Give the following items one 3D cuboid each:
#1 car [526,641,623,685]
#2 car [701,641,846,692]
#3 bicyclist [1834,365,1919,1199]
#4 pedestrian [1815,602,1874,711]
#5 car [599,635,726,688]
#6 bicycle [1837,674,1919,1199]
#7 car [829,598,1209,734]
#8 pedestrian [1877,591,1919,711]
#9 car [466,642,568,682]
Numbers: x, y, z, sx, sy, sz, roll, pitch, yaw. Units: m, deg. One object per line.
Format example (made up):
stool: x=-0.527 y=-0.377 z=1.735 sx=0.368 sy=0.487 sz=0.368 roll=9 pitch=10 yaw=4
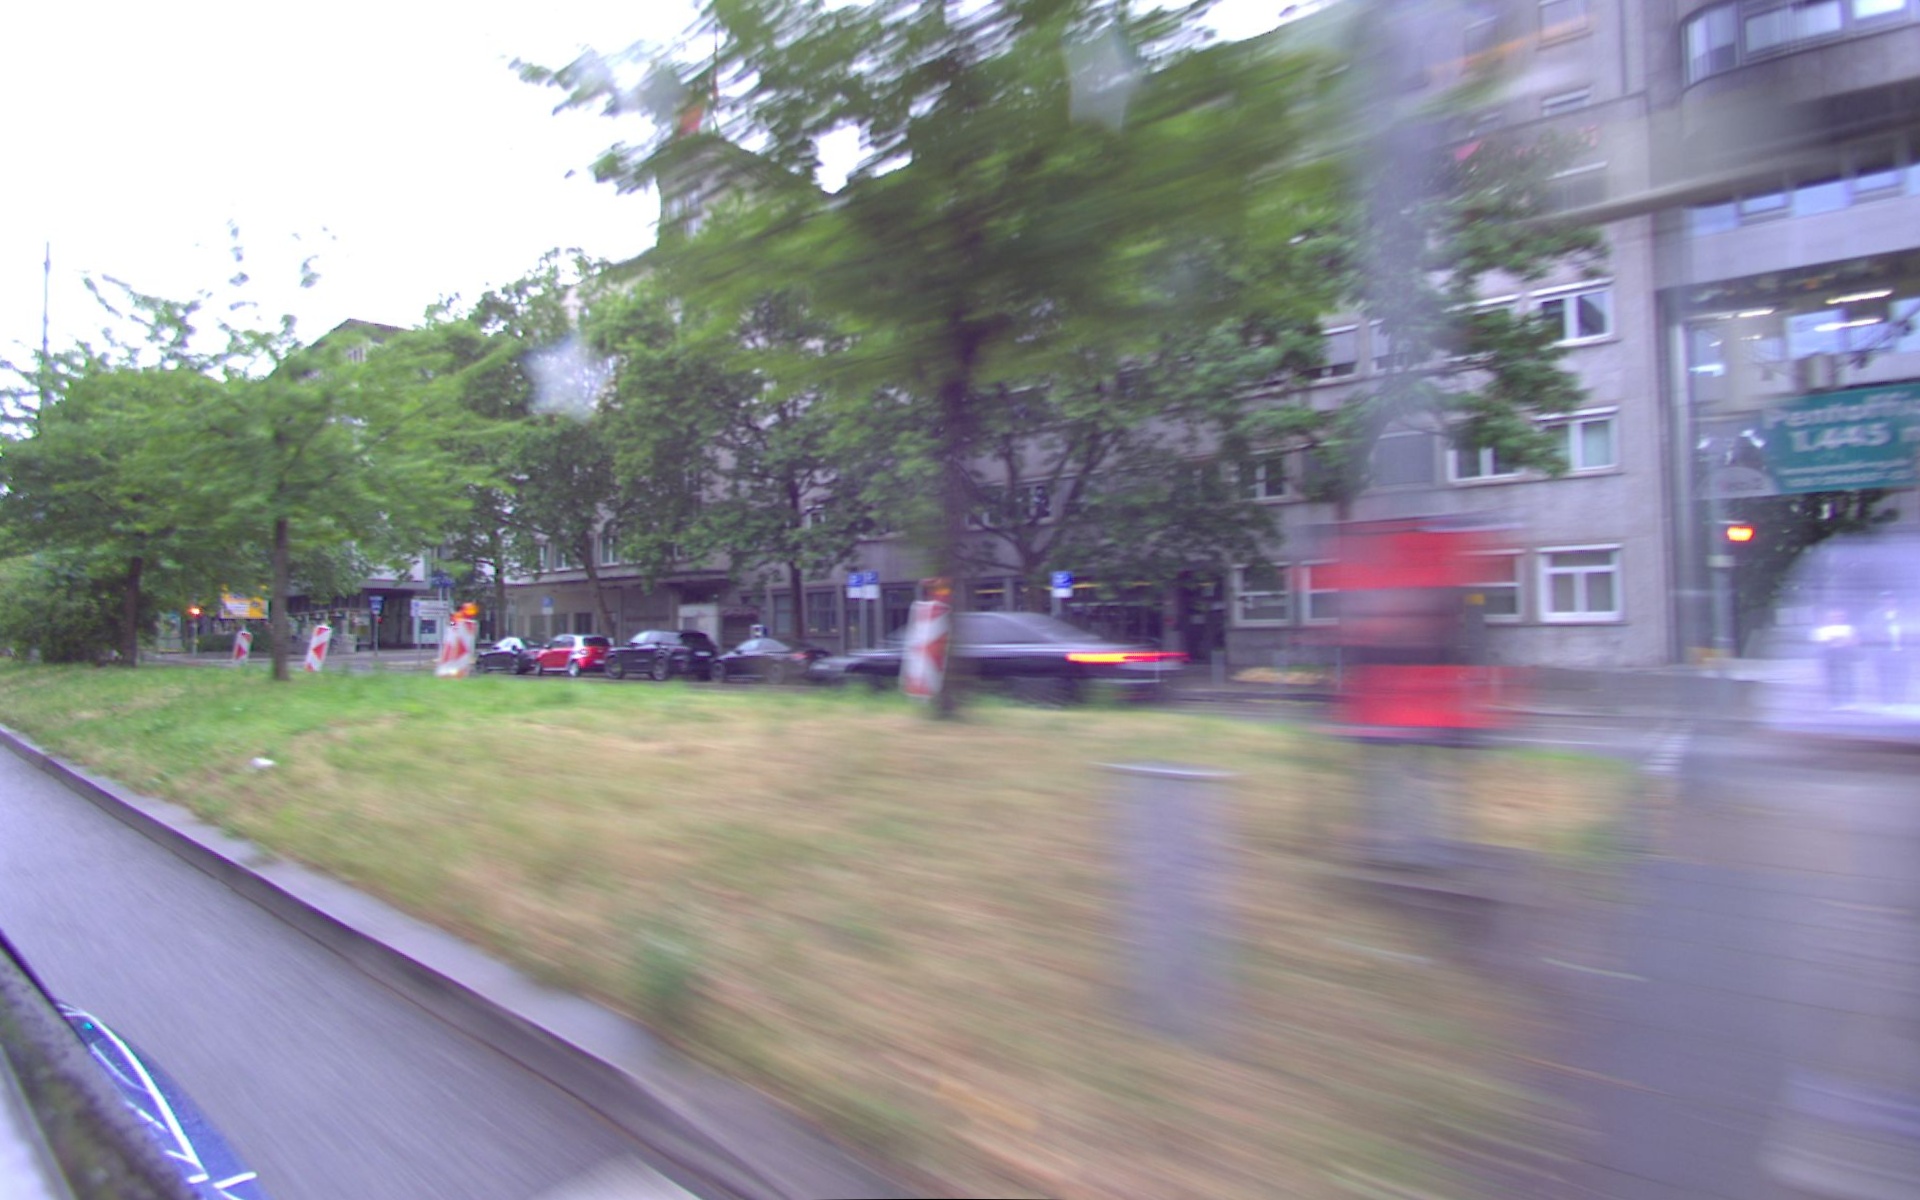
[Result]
car: x=-14.017 y=2.277 z=36.716 sx=3.688 sy=1.514 sz=1.669 roll=-2 pitch=-4 yaw=39
car: x=-5.715 y=1.981 z=30.765 sx=4.561 sy=1.440 sz=1.843 roll=-2 pitch=-4 yaw=39
bicyclist: x=2.400 y=0.418 z=2.126 sx=0.812 sy=1.762 sz=1.064 roll=0 pitch=2 yaw=43
pedestrian: x=13.783 y=0.868 z=15.772 sx=0.620 sy=1.641 sz=0.599 roll=-3 pitch=-3 yaw=43
car: x=-9.967 y=2.025 z=33.780 sx=4.462 sy=1.634 sz=1.843 roll=-2 pitch=-4 yaw=39
bicycle: x=2.311 y=0.807 z=2.008 sx=0.777 sy=1.148 sz=1.950 roll=-3 pitch=0 yaw=42
car: x=0.645 y=0.831 z=13.100 sx=4.716 sy=1.478 sz=1.773 roll=-2 pitch=-4 yaw=36
pedestrian: x=14.494 y=0.773 z=15.420 sx=0.721 sy=1.801 sz=0.522 roll=-3 pitch=-3 yaw=43
car: x=-17.432 y=2.403 z=39.727 sx=4.570 sy=1.499 sz=1.768 roll=-2 pitch=-4 yaw=39
